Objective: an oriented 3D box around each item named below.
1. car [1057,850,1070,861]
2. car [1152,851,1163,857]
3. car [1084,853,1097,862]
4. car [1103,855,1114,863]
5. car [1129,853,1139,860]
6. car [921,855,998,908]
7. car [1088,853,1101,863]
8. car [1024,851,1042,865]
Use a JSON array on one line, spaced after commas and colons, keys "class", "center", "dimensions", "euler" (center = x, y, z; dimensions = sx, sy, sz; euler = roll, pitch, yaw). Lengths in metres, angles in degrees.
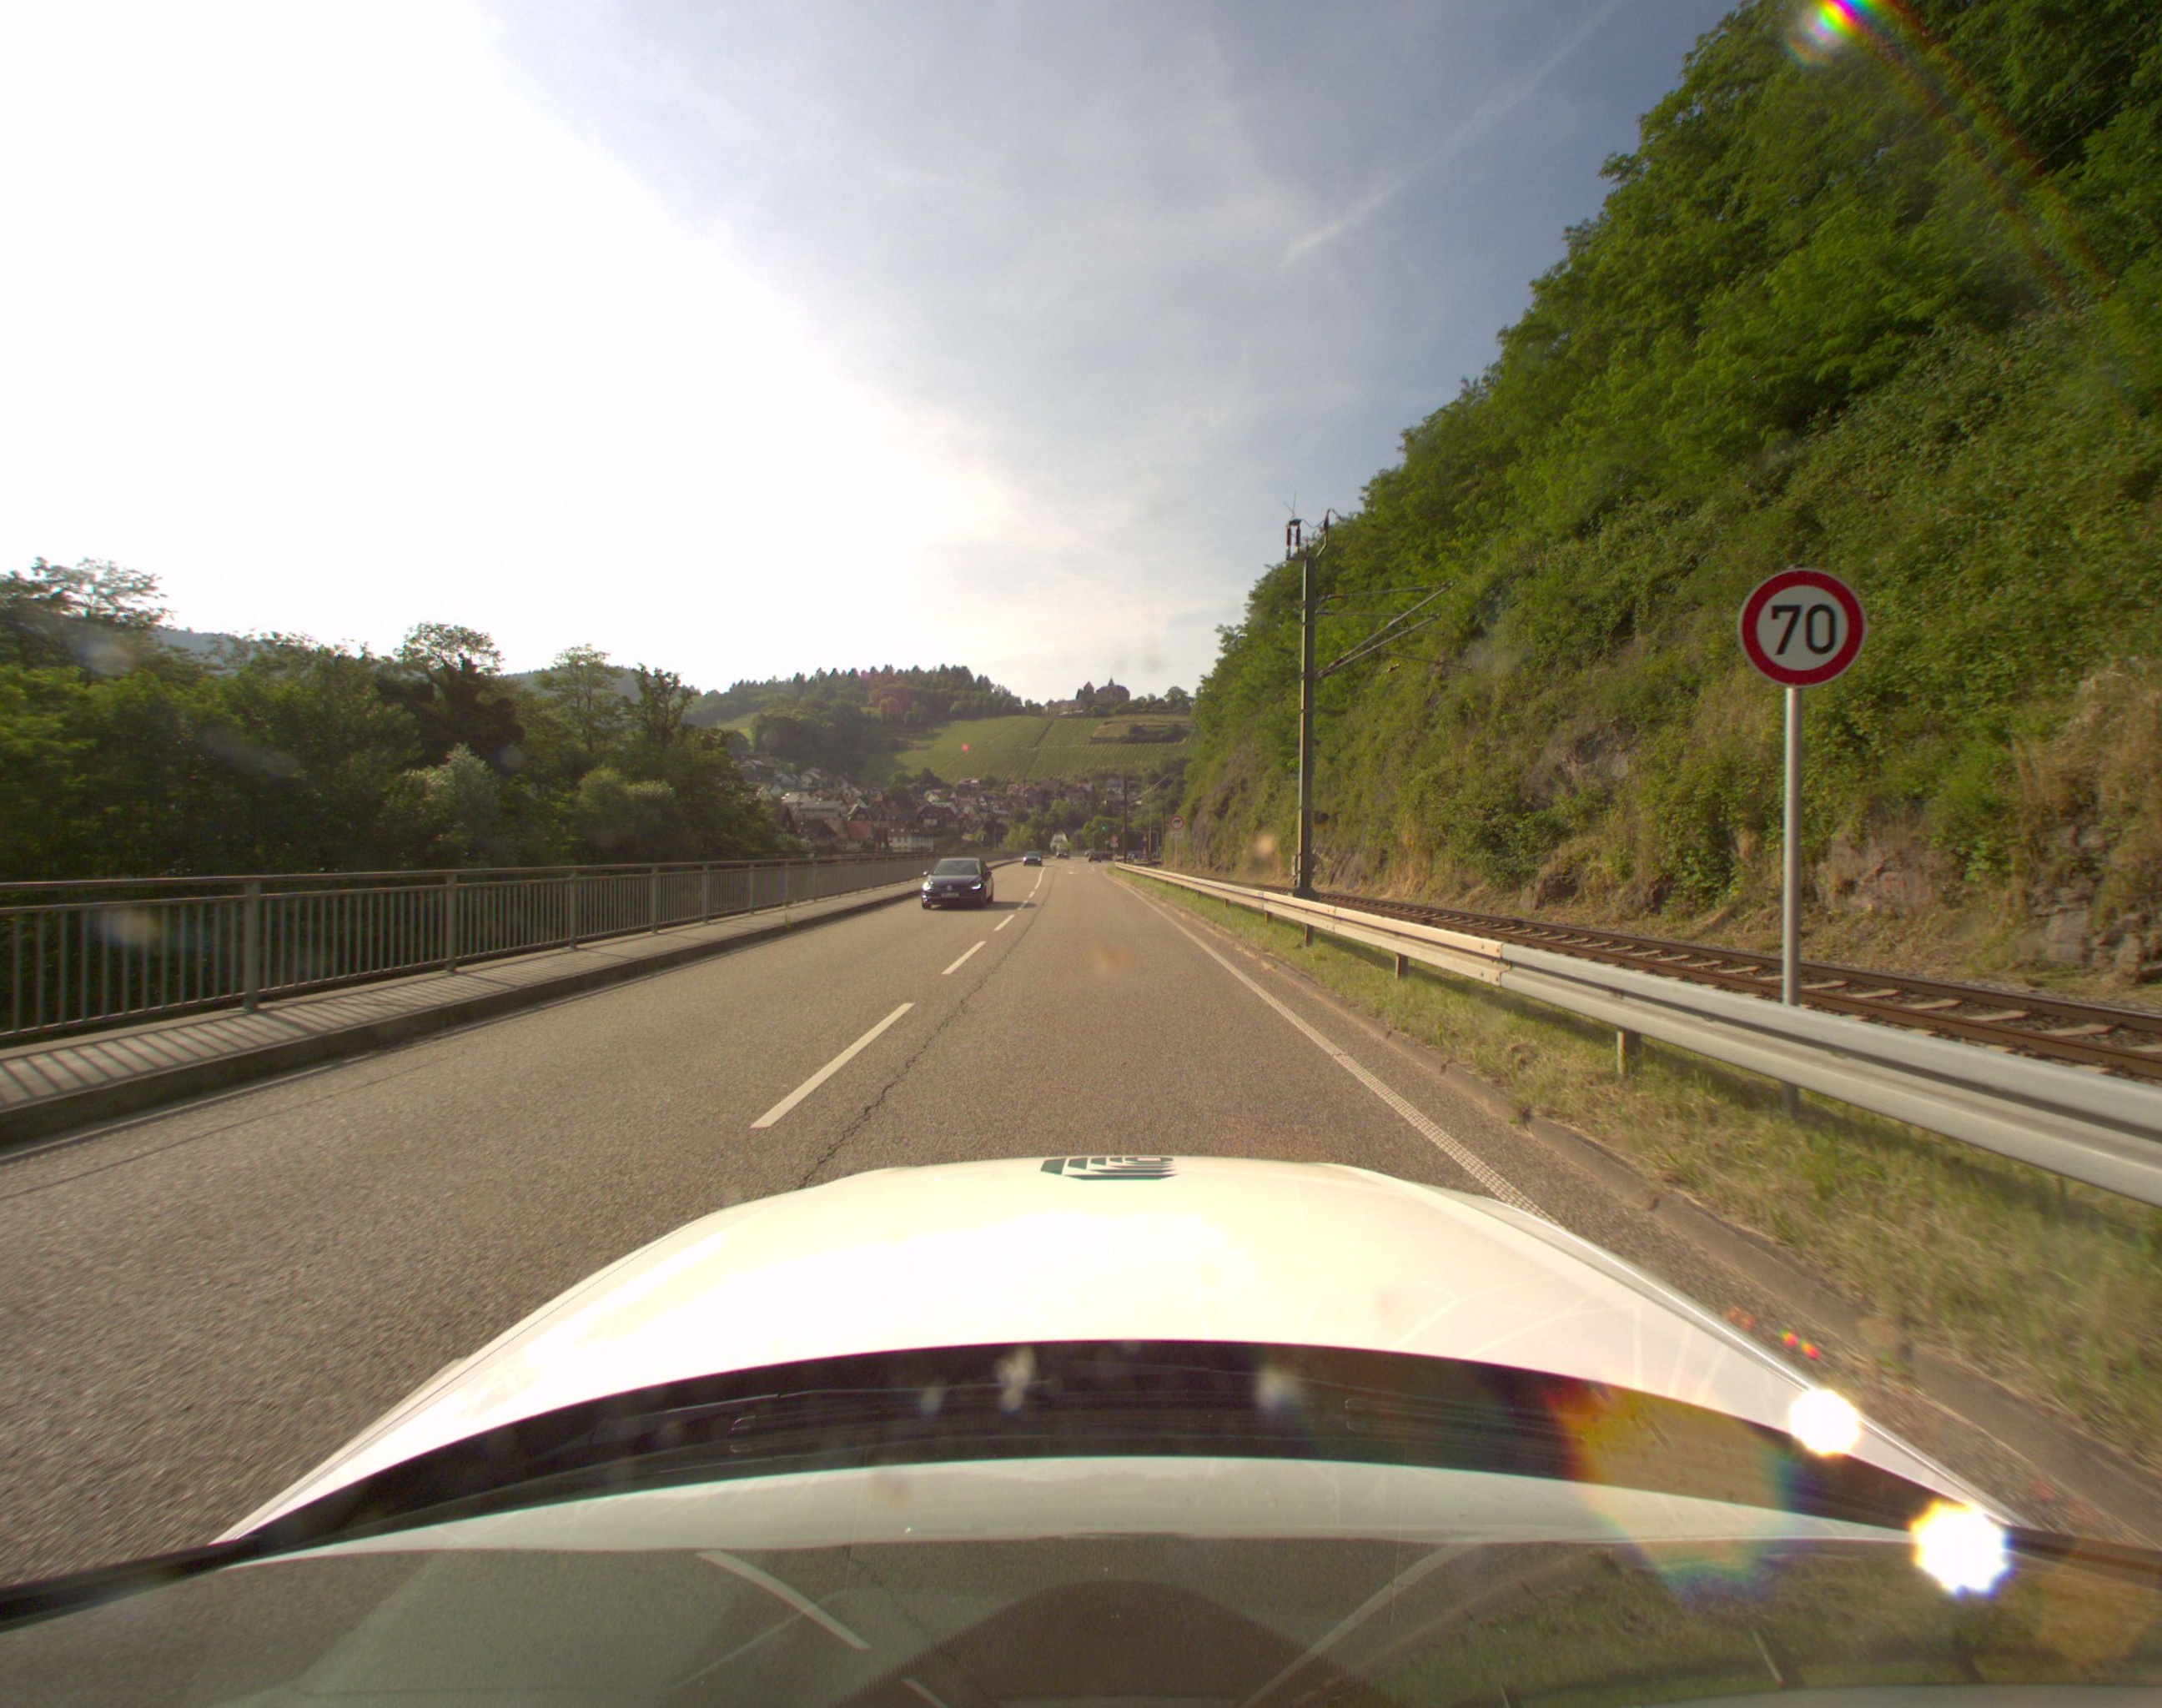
[{"class": "car", "center": [-2.940, 0.256, 137.358], "dimensions": [1.783, 1.828, 4.833], "euler": [1, 0, 4]}, {"class": "car", "center": [17.915, 0.038, 191.036], "dimensions": [1.794, 1.408, 3.790], "euler": [0, -1, 17]}, {"class": "car", "center": [1.931, 0.654, 164.128], "dimensions": [1.807, 1.646, 4.623], "euler": [1, 0, 8]}, {"class": "car", "center": [4.675, 0.877, 140.307], "dimensions": [1.832, 1.459, 3.715], "euler": [0, -1, 3]}, {"class": "car", "center": [11.102, 0.473, 169.121], "dimensions": [1.797, 1.453, 3.654], "euler": [0, -1, 7]}, {"class": "car", "center": [-3.514, 0.767, 24.230], "dimensions": [1.698, 1.431, 4.072], "euler": [-1, 0, -1]}, {"class": "car", "center": [2.032, 0.669, 120.660], "dimensions": [1.721, 1.457, 3.413], "euler": [0, -1, 3]}, {"class": "car", "center": [-4.799, 0.404, 82.073], "dimensions": [1.716, 1.435, 4.337], "euler": [0, 0, -2]}]
